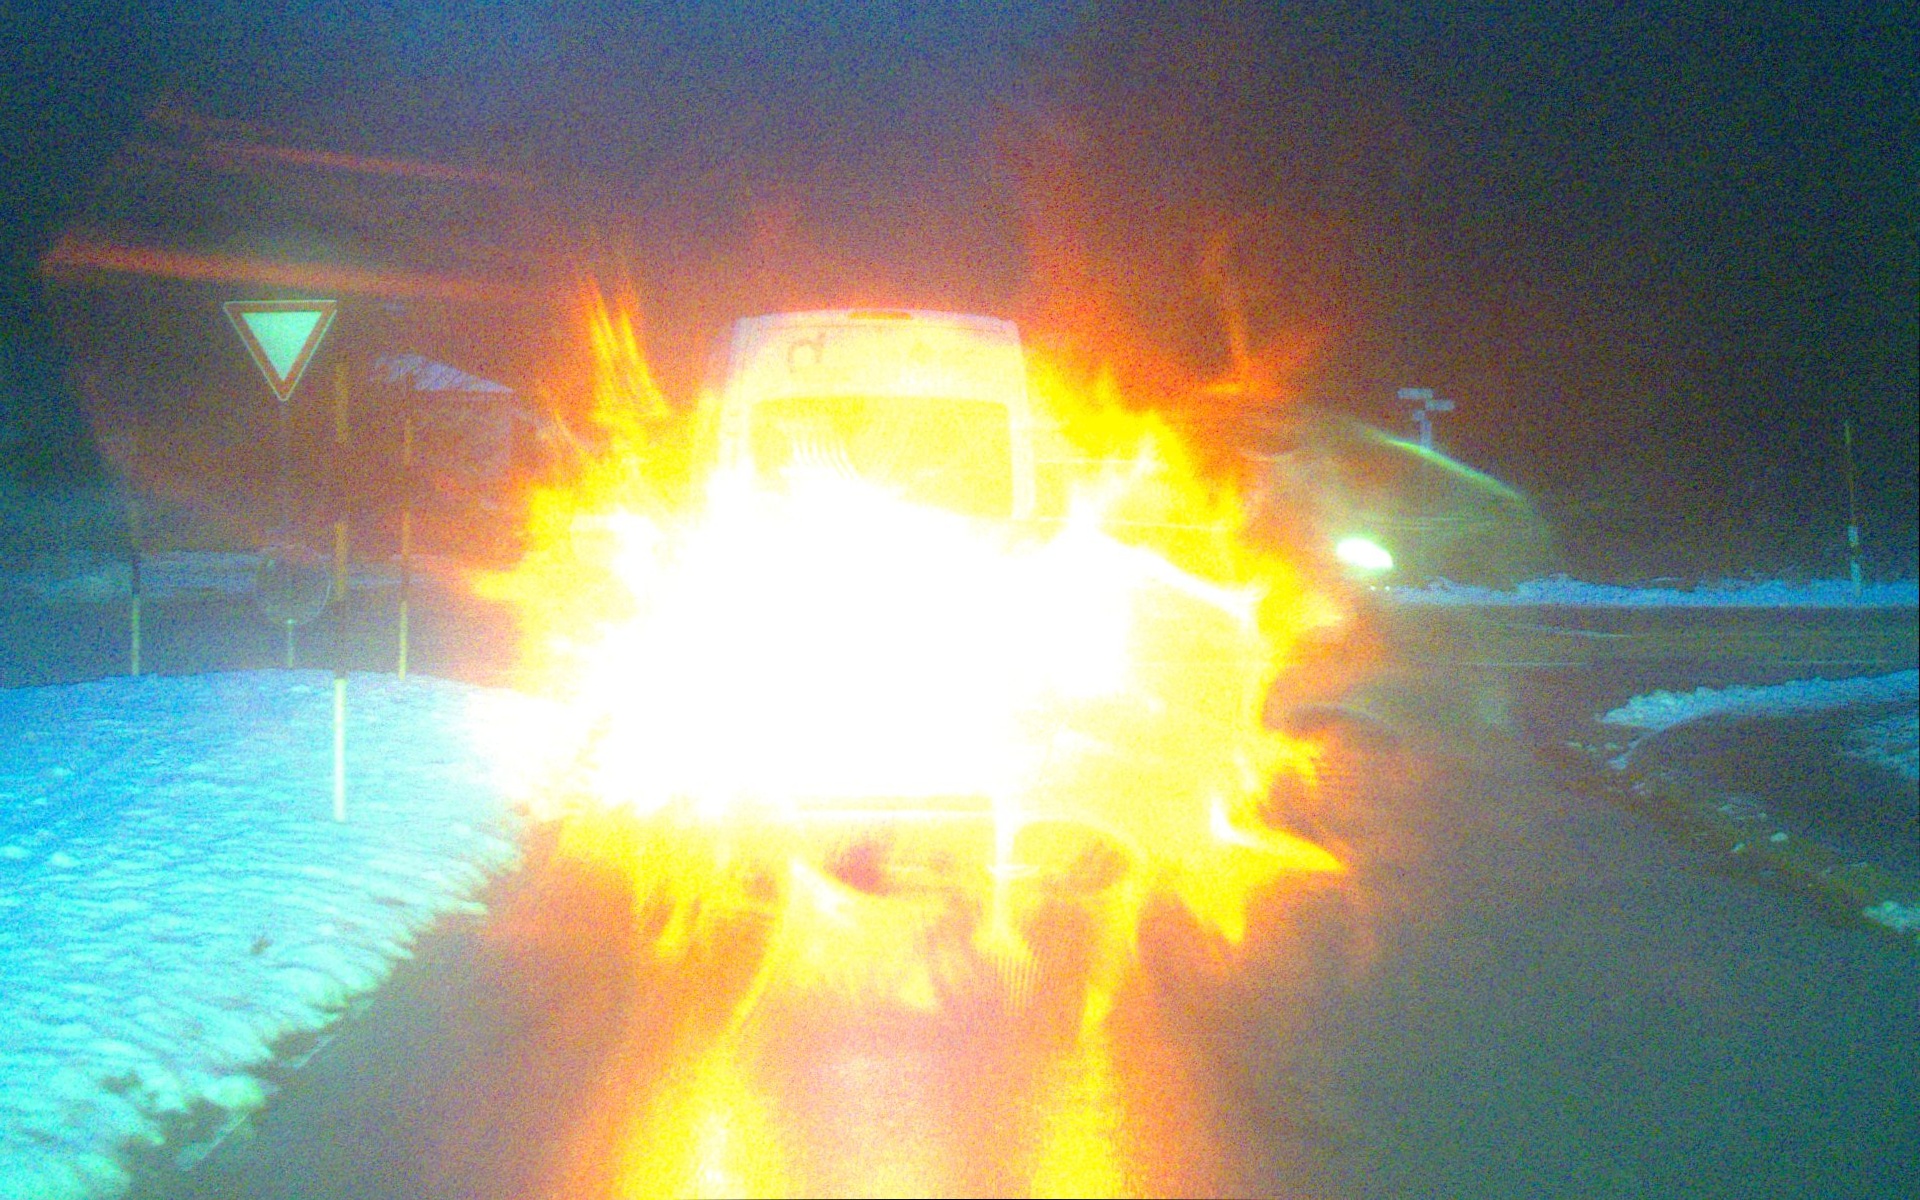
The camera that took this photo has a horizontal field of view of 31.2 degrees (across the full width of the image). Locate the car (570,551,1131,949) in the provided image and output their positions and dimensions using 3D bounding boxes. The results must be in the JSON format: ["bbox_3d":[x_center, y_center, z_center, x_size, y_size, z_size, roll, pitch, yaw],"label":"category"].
[{"bbox_3d":[-0.423,0.494,13.917,1.922,1.272,4.001,1,2,-1],"label":"car"}]

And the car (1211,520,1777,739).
[{"bbox_3d":[5.057,0.277,32.709,5.002,1.939,1.685,1,1,-12],"label":"car"}]

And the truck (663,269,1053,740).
[{"bbox_3d":[-0.827,-0.596,22.947,2.075,2.736,5.320,1,1,-7],"label":"truck"}]
